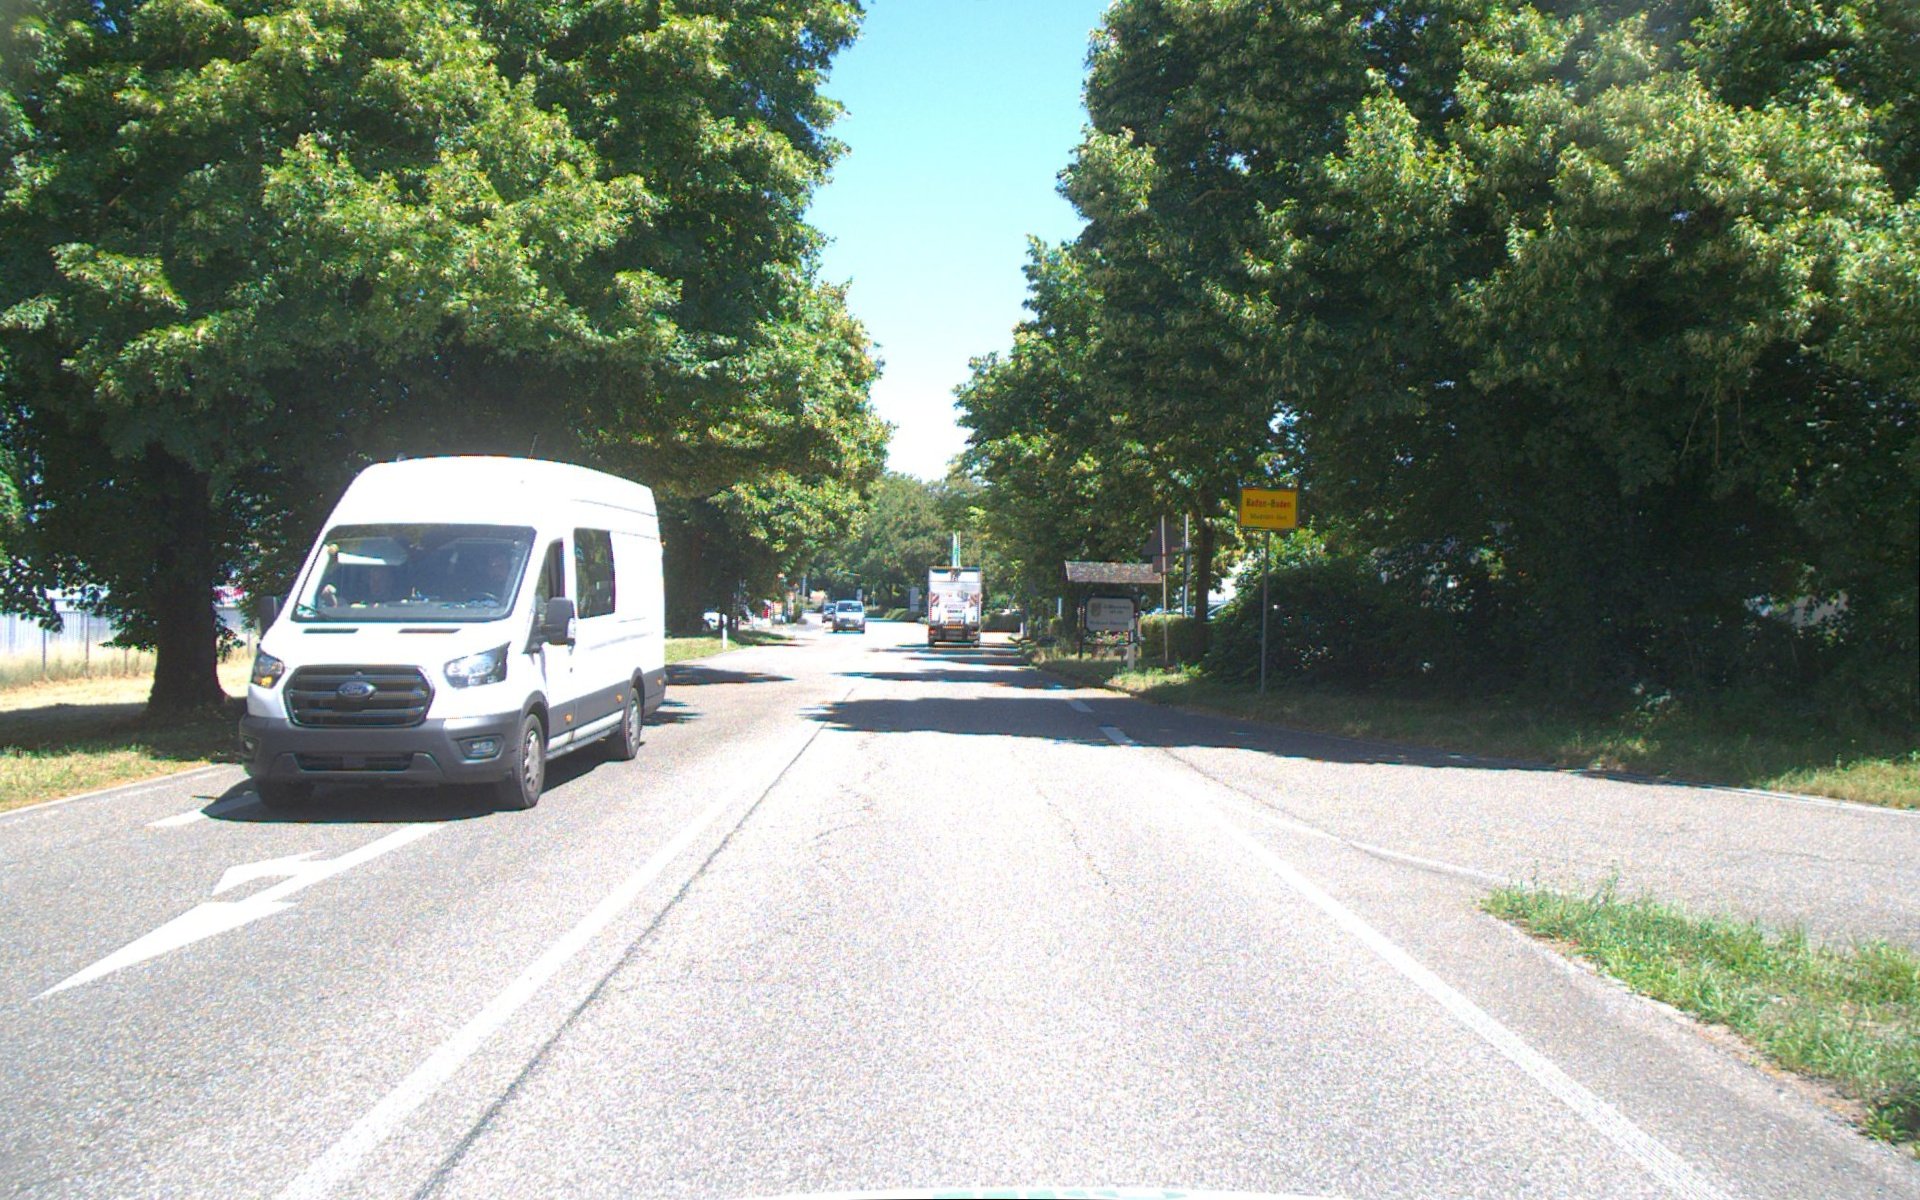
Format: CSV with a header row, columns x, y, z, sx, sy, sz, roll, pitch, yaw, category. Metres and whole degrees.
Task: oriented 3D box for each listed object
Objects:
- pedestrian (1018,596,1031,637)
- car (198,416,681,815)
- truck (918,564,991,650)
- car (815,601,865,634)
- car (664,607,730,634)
x,y,z,sx,sy,sz,roll,pitch,yaw,category
2.860,0.723,73.408,0.536,1.807,0.577,0,-1,3,pedestrian
-4.067,0.128,14.506,2.031,2.673,6.783,0,0,0,car
-0.153,0.248,64.015,2.480,3.190,5.363,0,0,3,truck
-7.018,1.011,96.477,1.960,1.889,5.295,0,0,-15,car
-13.978,1.098,87.902,3.357,1.386,1.333,0,-1,28,car
